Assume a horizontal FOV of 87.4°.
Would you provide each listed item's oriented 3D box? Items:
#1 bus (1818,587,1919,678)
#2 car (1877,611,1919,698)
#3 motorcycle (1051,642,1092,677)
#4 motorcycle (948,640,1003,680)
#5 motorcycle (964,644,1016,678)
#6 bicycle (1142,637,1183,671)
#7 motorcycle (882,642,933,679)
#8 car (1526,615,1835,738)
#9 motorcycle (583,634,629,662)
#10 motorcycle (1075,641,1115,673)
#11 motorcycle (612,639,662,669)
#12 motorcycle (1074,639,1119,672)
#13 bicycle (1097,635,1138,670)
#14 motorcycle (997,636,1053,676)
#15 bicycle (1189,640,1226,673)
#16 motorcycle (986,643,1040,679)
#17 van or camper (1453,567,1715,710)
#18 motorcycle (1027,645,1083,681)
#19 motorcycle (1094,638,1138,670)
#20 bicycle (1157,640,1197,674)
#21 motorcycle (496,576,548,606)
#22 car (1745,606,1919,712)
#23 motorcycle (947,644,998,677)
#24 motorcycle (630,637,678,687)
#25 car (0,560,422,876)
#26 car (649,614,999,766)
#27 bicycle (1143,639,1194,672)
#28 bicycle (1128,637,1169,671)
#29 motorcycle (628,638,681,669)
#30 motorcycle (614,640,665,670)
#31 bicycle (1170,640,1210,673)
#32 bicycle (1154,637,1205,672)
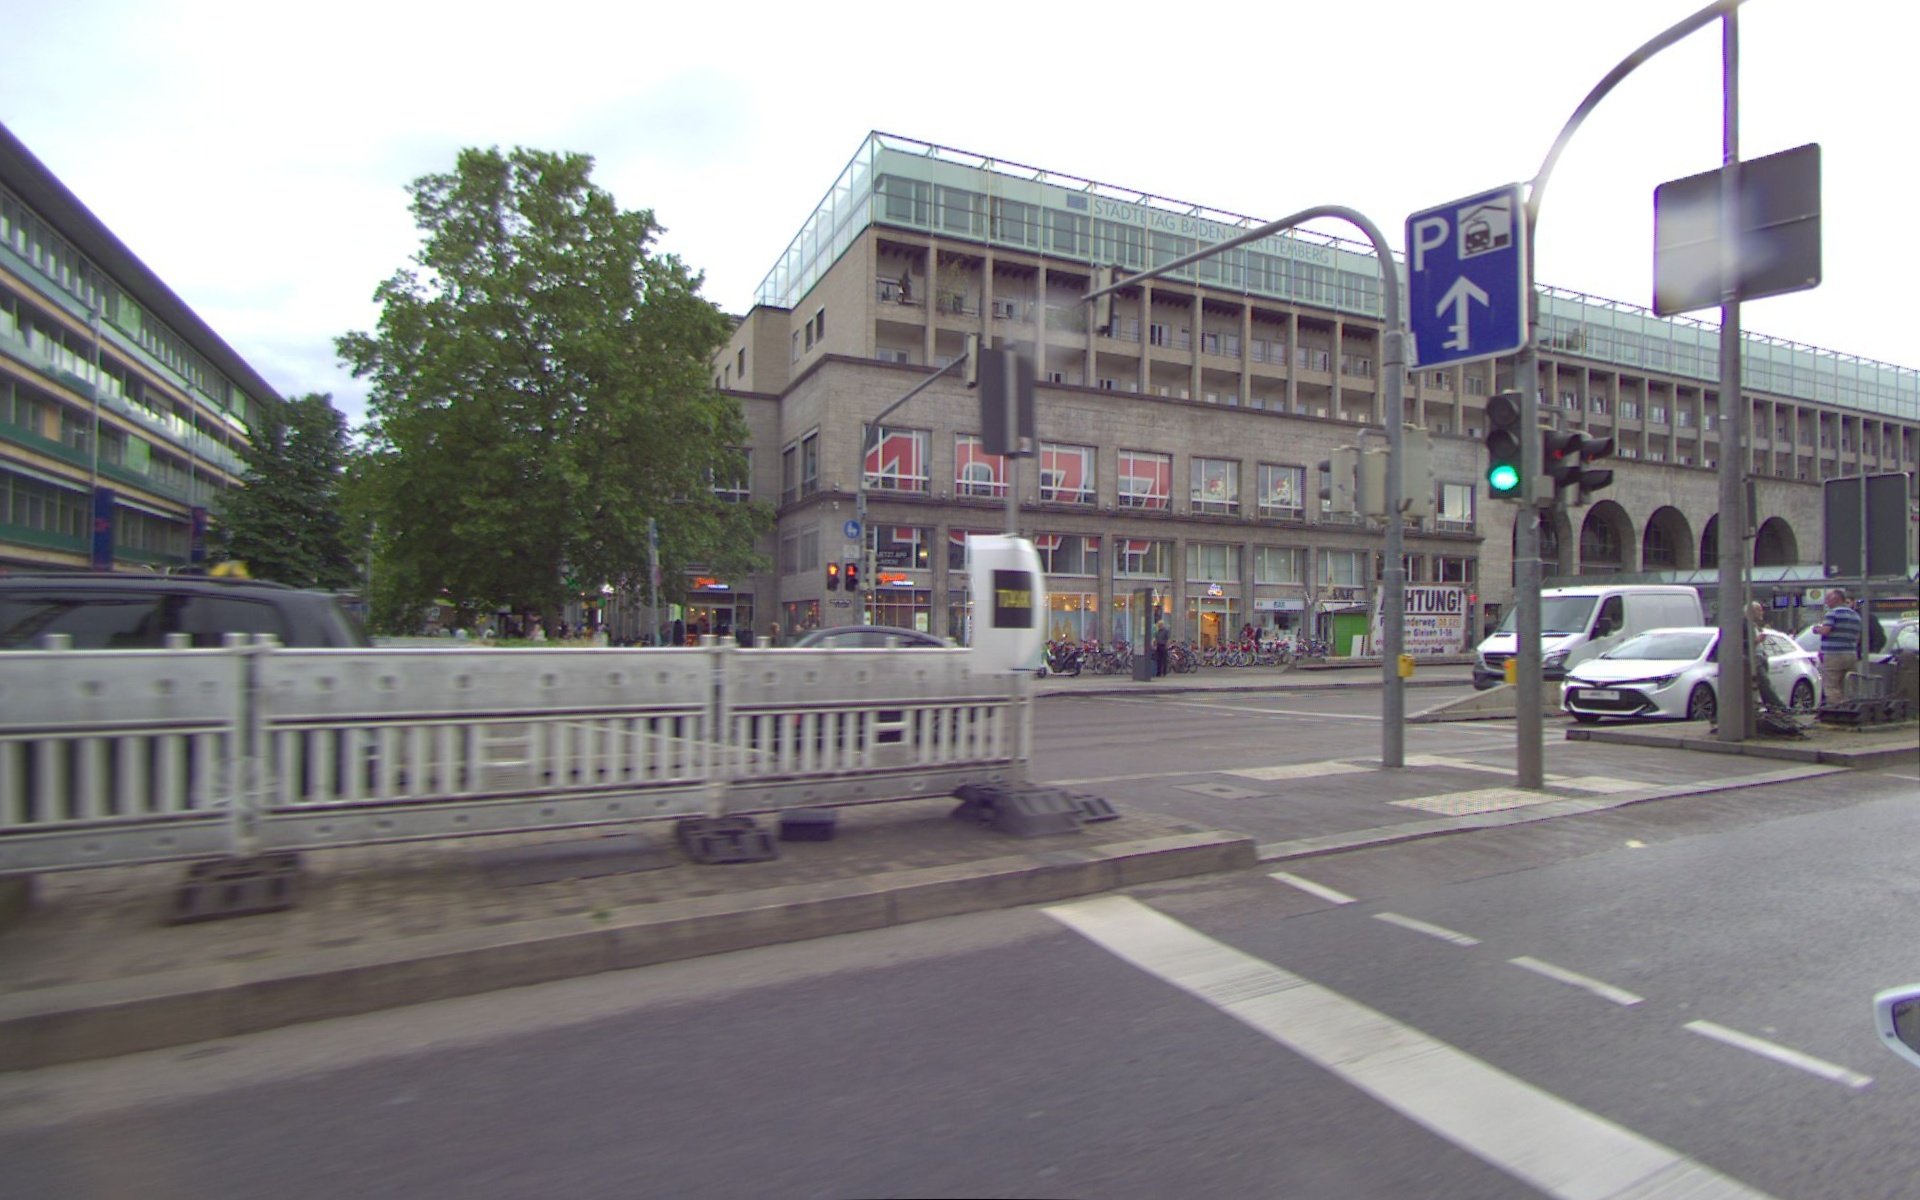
[{"bbox_3d":[39.831,1.305,41.434,10.433,3.421,2.868,1,-1,-26],"label":"bus"},{"bbox_3d":[21.039,1.102,20.474,4.621,1.712,1.923,1,-3,-27],"label":"car"},{"bbox_3d":[3.919,2.089,35.413,0.575,1.149,1.804,1,0,-24],"label":"motorcycle"},{"bbox_3d":[0.478,1.843,31.098,1.599,1.188,0.580,0,1,-21],"label":"motorcycle"},{"bbox_3d":[0.971,1.990,32.937,1.598,1.072,0.581,0,1,-19],"label":"motorcycle"},{"bbox_3d":[8.472,2.250,42.156,0.673,1.343,1.718,1,-1,-34],"label":"bicycle"},{"bbox_3d":[-1.712,1.989,33.031,1.591,1.149,0.583,1,1,7],"label":"motorcycle"},{"bbox_3d":[11.140,1.060,15.474,4.782,1.642,2.007,0,-1,-29],"label":"car"},{"bbox_3d":[-14.185,1.921,40.277,1.696,1.061,0.528,1,-1,-30],"label":"motorcycle"},{"bbox_3d":[4.839,2.037,36.103,0.597,1.072,1.428,0,1,-36],"label":"motorcycle"},{"bbox_3d":[-11.920,1.980,37.107,1.696,1.061,0.528,1,-1,-30],"label":"motorcycle"},{"bbox_3d":[4.893,1.984,36.198,0.578,1.072,1.694,0,1,-37],"label":"motorcycle"},{"bbox_3d":[6.365,2.119,40.681,0.673,1.343,1.656,1,-1,-34],"label":"bicycle"},{"bbox_3d":[2.204,1.901,34.343,0.691,1.244,1.930,0,1,-44],"label":"motorcycle"},{"bbox_3d":[10.532,2.403,42.809,0.566,1.343,1.551,1,-1,-34],"label":"bicycle"},{"bbox_3d":[1.620,1.867,30.863,1.599,1.060,0.476,0,1,-21],"label":"motorcycle"},{"bbox_3d":[12.516,0.770,20.087,5.302,2.547,1.986,1,-4,-28],"label":"van or camper"},{"bbox_3d":[3.093,2.043,32.689,1.778,1.072,0.603,1,1,11],"label":"motorcycle"},{"bbox_3d":[5.720,1.961,36.933,0.578,1.072,1.694,0,1,-37],"label":"motorcycle"},{"bbox_3d":[9.187,2.394,42.577,0.673,1.343,1.695,1,-1,-34],"label":"bicycle"},{"bbox_3d":[-15.997,-0.326,36.662,1.696,1.061,0.528,1,-1,-30],"label":"motorcycle"},{"bbox_3d":[16.618,1.043,18.246,4.621,1.712,1.923,1,-3,-27],"label":"car"},{"bbox_3d":[0.418,2.022,33.729,1.598,1.072,0.581,0,1,-19],"label":"motorcycle"},{"bbox_3d":[-8.070,1.631,26.535,1.147,1.295,0.414,1,-1,-30],"label":"motorcycle"},{"bbox_3d":[-5.849,0.631,6.204,4.444,1.722,1.895,0,1,-29],"label":"car"},{"bbox_3d":[-1.684,1.028,12.639,3.994,1.631,1.807,0,-3,-29],"label":"car"},{"bbox_3d":[7.765,2.055,37.532,0.590,1.091,2.076,0,1,-33],"label":"bicycle"},{"bbox_3d":[7.824,2.215,41.734,0.673,1.343,1.656,1,-1,-34],"label":"bicycle"},{"bbox_3d":[-10.698,1.860,35.228,1.696,1.061,0.528,1,-1,-30],"label":"motorcycle"},{"bbox_3d":[-11.653,2.000,36.568,1.696,1.061,0.528,1,-1,-30],"label":"motorcycle"},{"bbox_3d":[9.811,2.385,42.888,0.574,1.343,1.695,1,-1,-34],"label":"bicycle"},{"bbox_3d":[8.248,2.031,37.862,0.590,1.196,2.076,0,1,-33],"label":"bicycle"}]
